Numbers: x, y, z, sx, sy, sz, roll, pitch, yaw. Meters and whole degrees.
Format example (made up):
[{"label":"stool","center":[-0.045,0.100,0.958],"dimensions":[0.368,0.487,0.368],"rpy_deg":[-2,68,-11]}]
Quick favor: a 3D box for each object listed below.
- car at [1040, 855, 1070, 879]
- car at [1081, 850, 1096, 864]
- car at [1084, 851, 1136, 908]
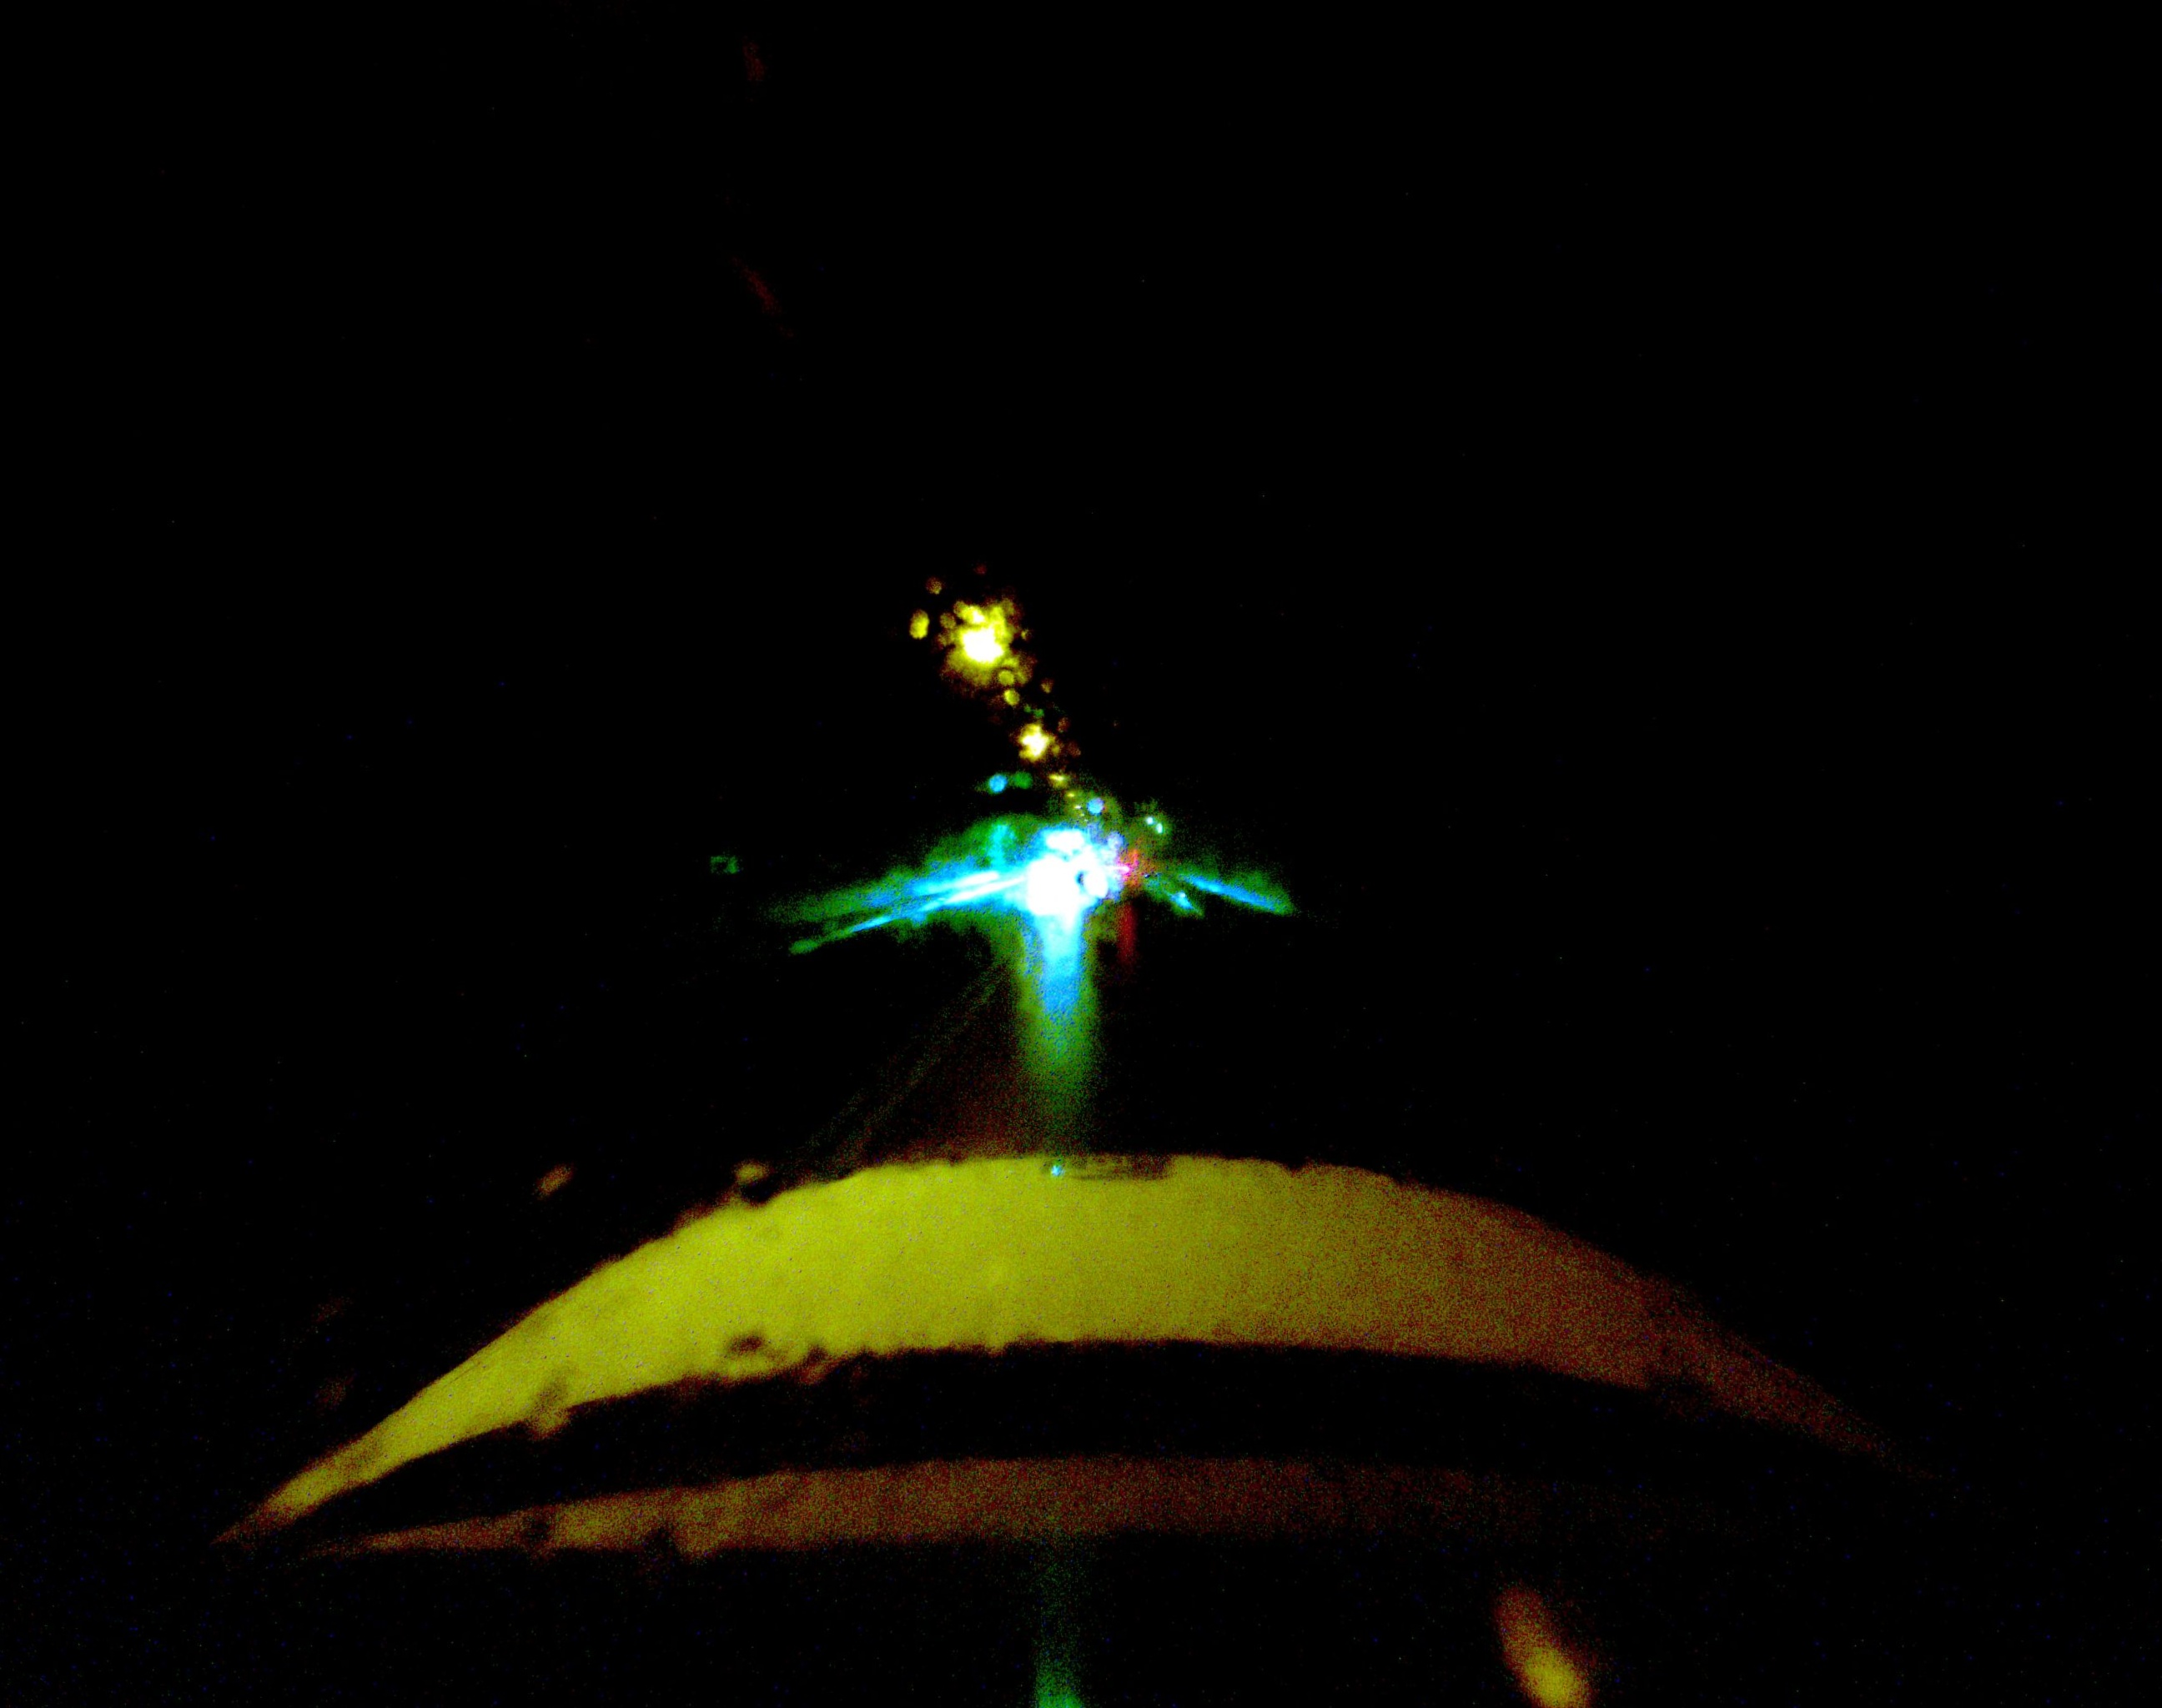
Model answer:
[{"label":"car","center":[-1.661,0.811,53.218],"dimensions":[1.771,1.408,4.293],"rpy_deg":[-2,1,0]},{"label":"car","center":[1.214,0.396,127.653],"dimensions":[2.204,2.013,4.000],"rpy_deg":[-2,1,0]},{"label":"car","center":[1.050,0.826,28.615],"dimensions":[1.628,1.757,4.149],"rpy_deg":[-2,1,3]}]
